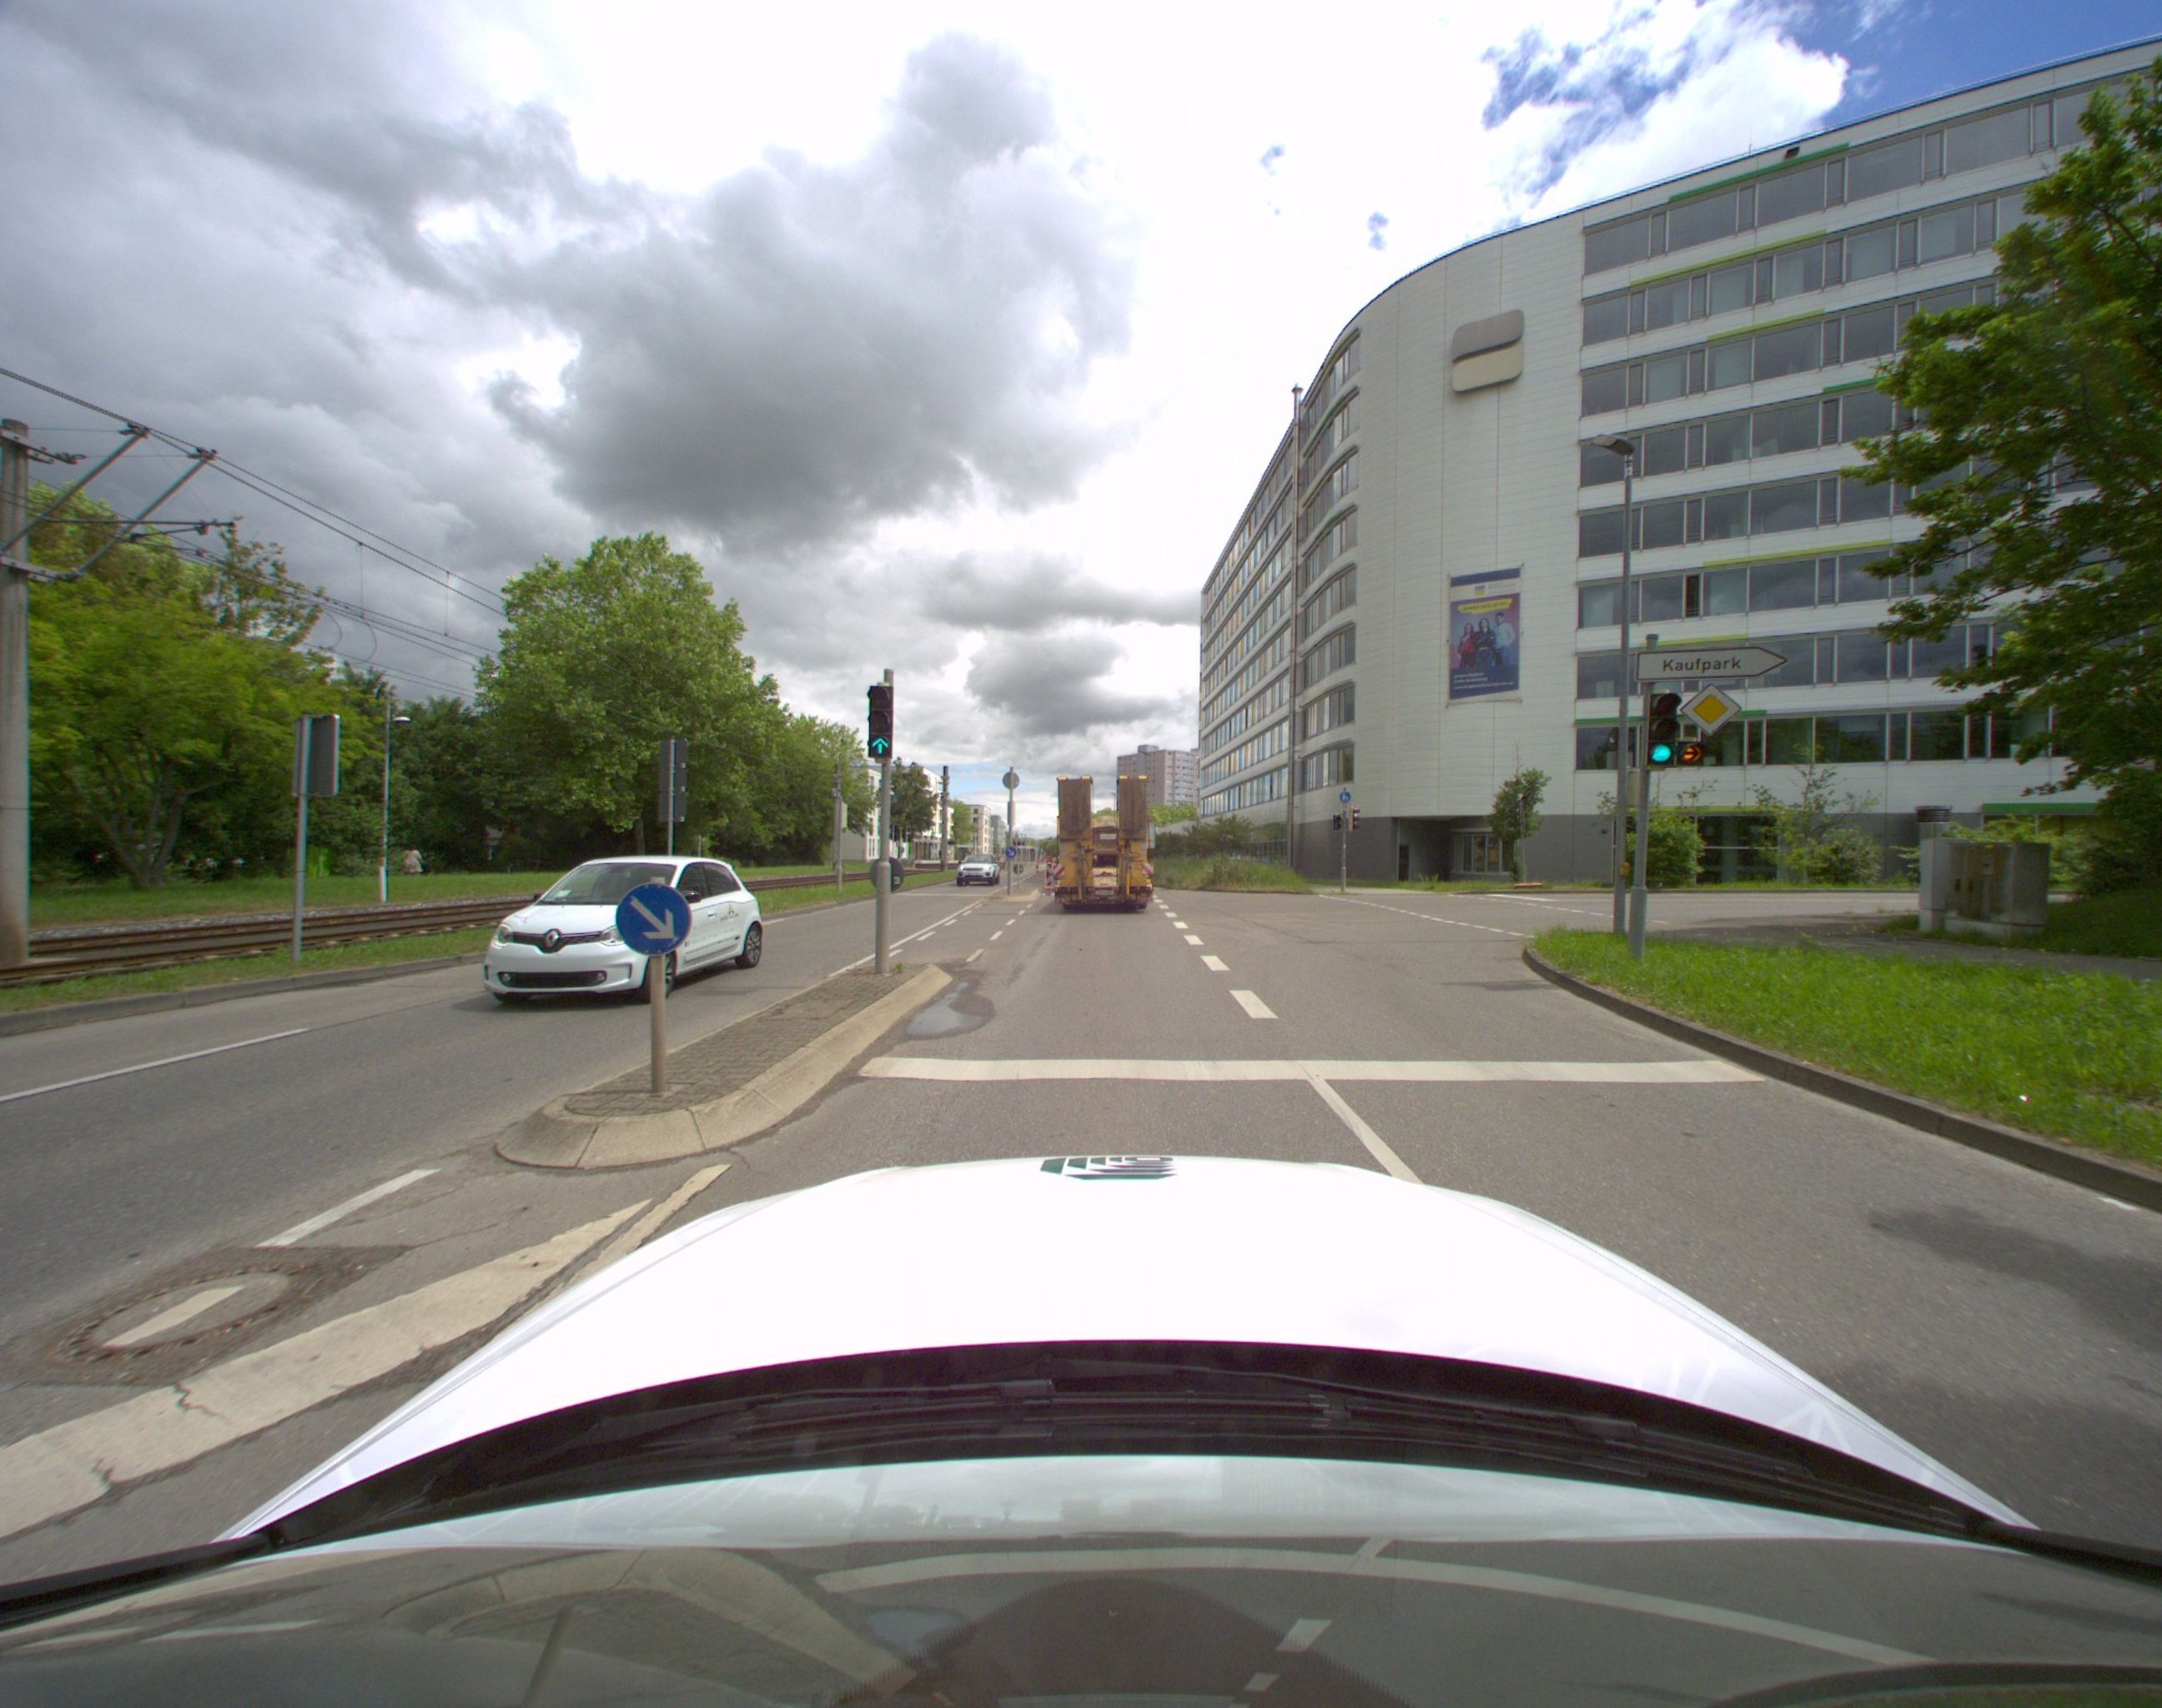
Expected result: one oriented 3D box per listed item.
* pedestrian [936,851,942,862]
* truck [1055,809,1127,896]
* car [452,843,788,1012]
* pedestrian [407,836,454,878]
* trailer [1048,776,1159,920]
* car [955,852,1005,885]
[{"bbox_3d":[-20.462,0.391,117.449,0.738,1.531,0.547,1,-1,2],"label":"pedestrian"},{"bbox_3d":[0.386,-0.017,35.832,2.745,3.313,8.349,1,-1,0],"label":"truck"},{"bbox_3d":[-5.248,0.741,10.058,1.723,1.612,4.261,1,-1,-1],"label":"car"},{"bbox_3d":[-30.382,0.141,38.044,1.031,1.933,1.363,1,0,1],"label":"pedestrian"},{"bbox_3d":[0.487,-0.094,26.025,2.721,3.559,11.248,1,-1,-1],"label":"trailer"},{"bbox_3d":[-5.220,0.767,42.678,1.853,1.610,4.609,1,-1,2],"label":"car"}]
